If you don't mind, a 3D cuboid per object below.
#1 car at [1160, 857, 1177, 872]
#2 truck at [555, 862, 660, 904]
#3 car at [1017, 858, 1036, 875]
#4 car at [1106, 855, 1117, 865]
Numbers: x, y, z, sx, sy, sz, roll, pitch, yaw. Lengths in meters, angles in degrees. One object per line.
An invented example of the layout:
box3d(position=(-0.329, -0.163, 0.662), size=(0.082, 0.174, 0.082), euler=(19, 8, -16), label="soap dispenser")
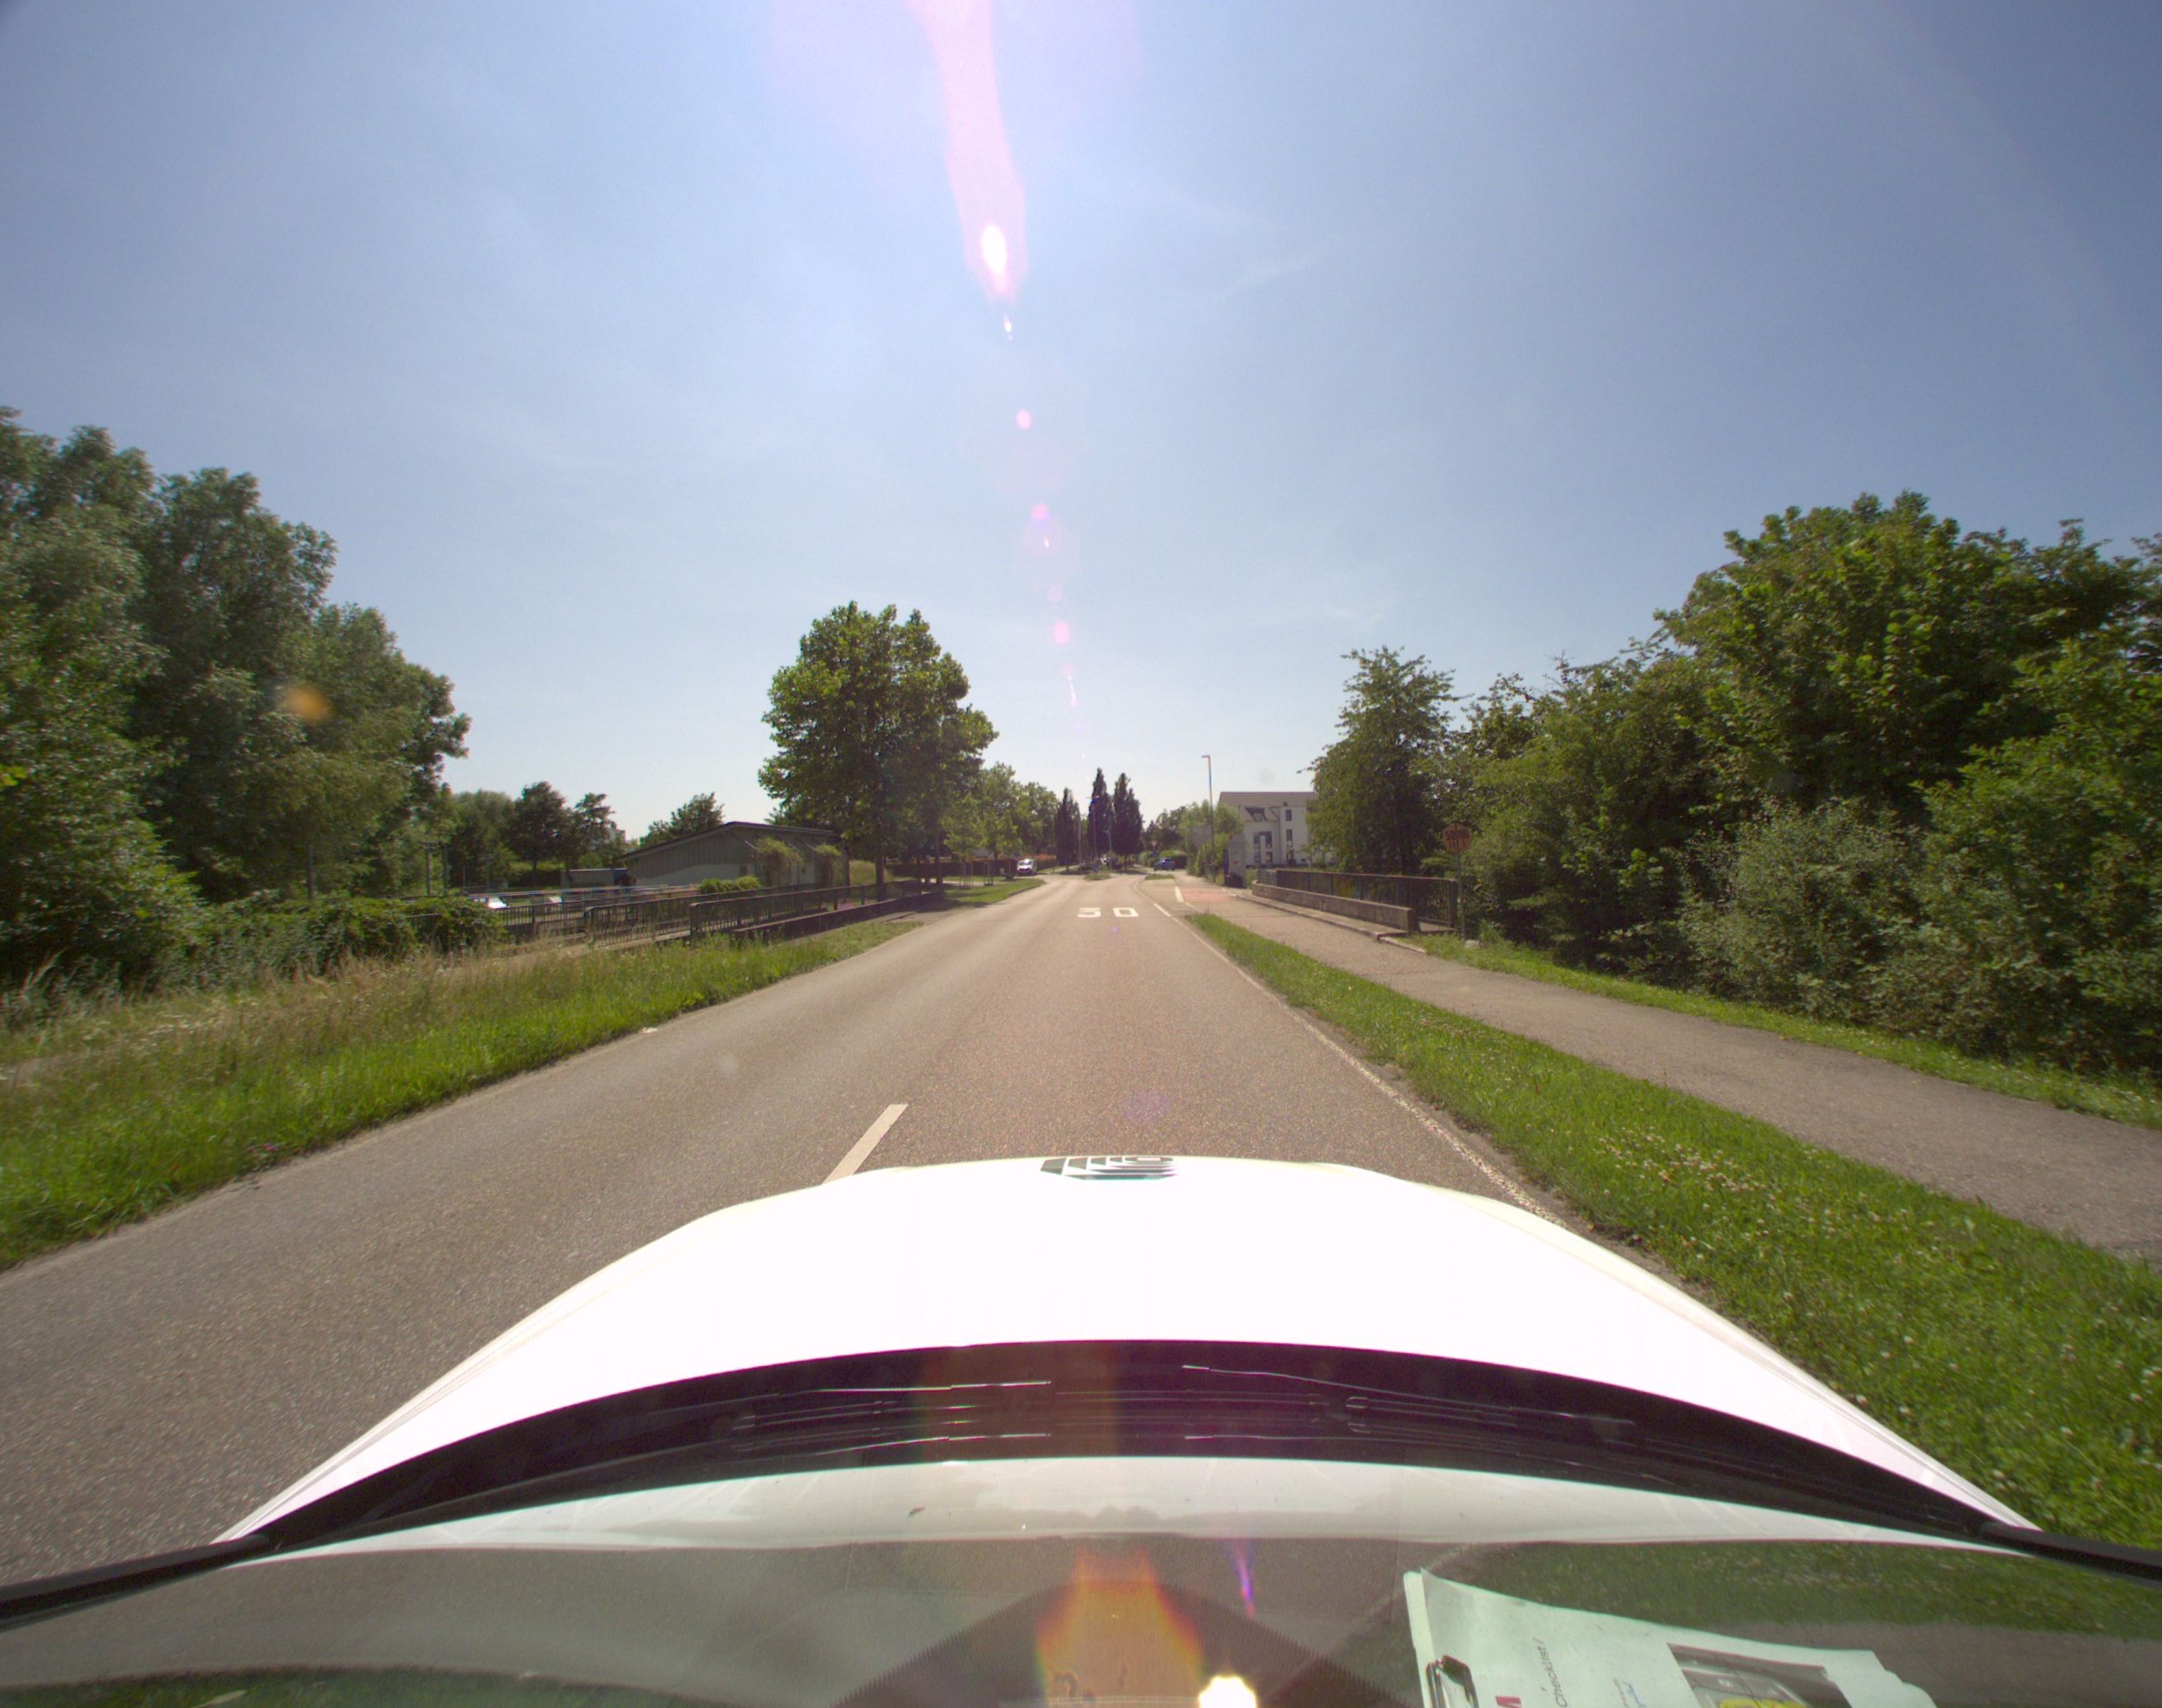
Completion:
box3d(position=(11.028, 1.367, 102.881), size=(1.916, 1.886, 4.001), euler=(-1, -1, 1), label="car")
box3d(position=(-27.422, 1.643, 47.443), size=(2.976, 2.216, 5.173), euler=(-1, 0, 1), label="truck")
box3d(position=(-6.525, 1.505, 98.175), size=(2.122, 2.014, 5.143), euler=(0, -1, -3), label="car")
box3d(position=(5.916, 1.203, 156.814), size=(1.985, 1.770, 4.003), euler=(-2, 0, 3), label="car")
